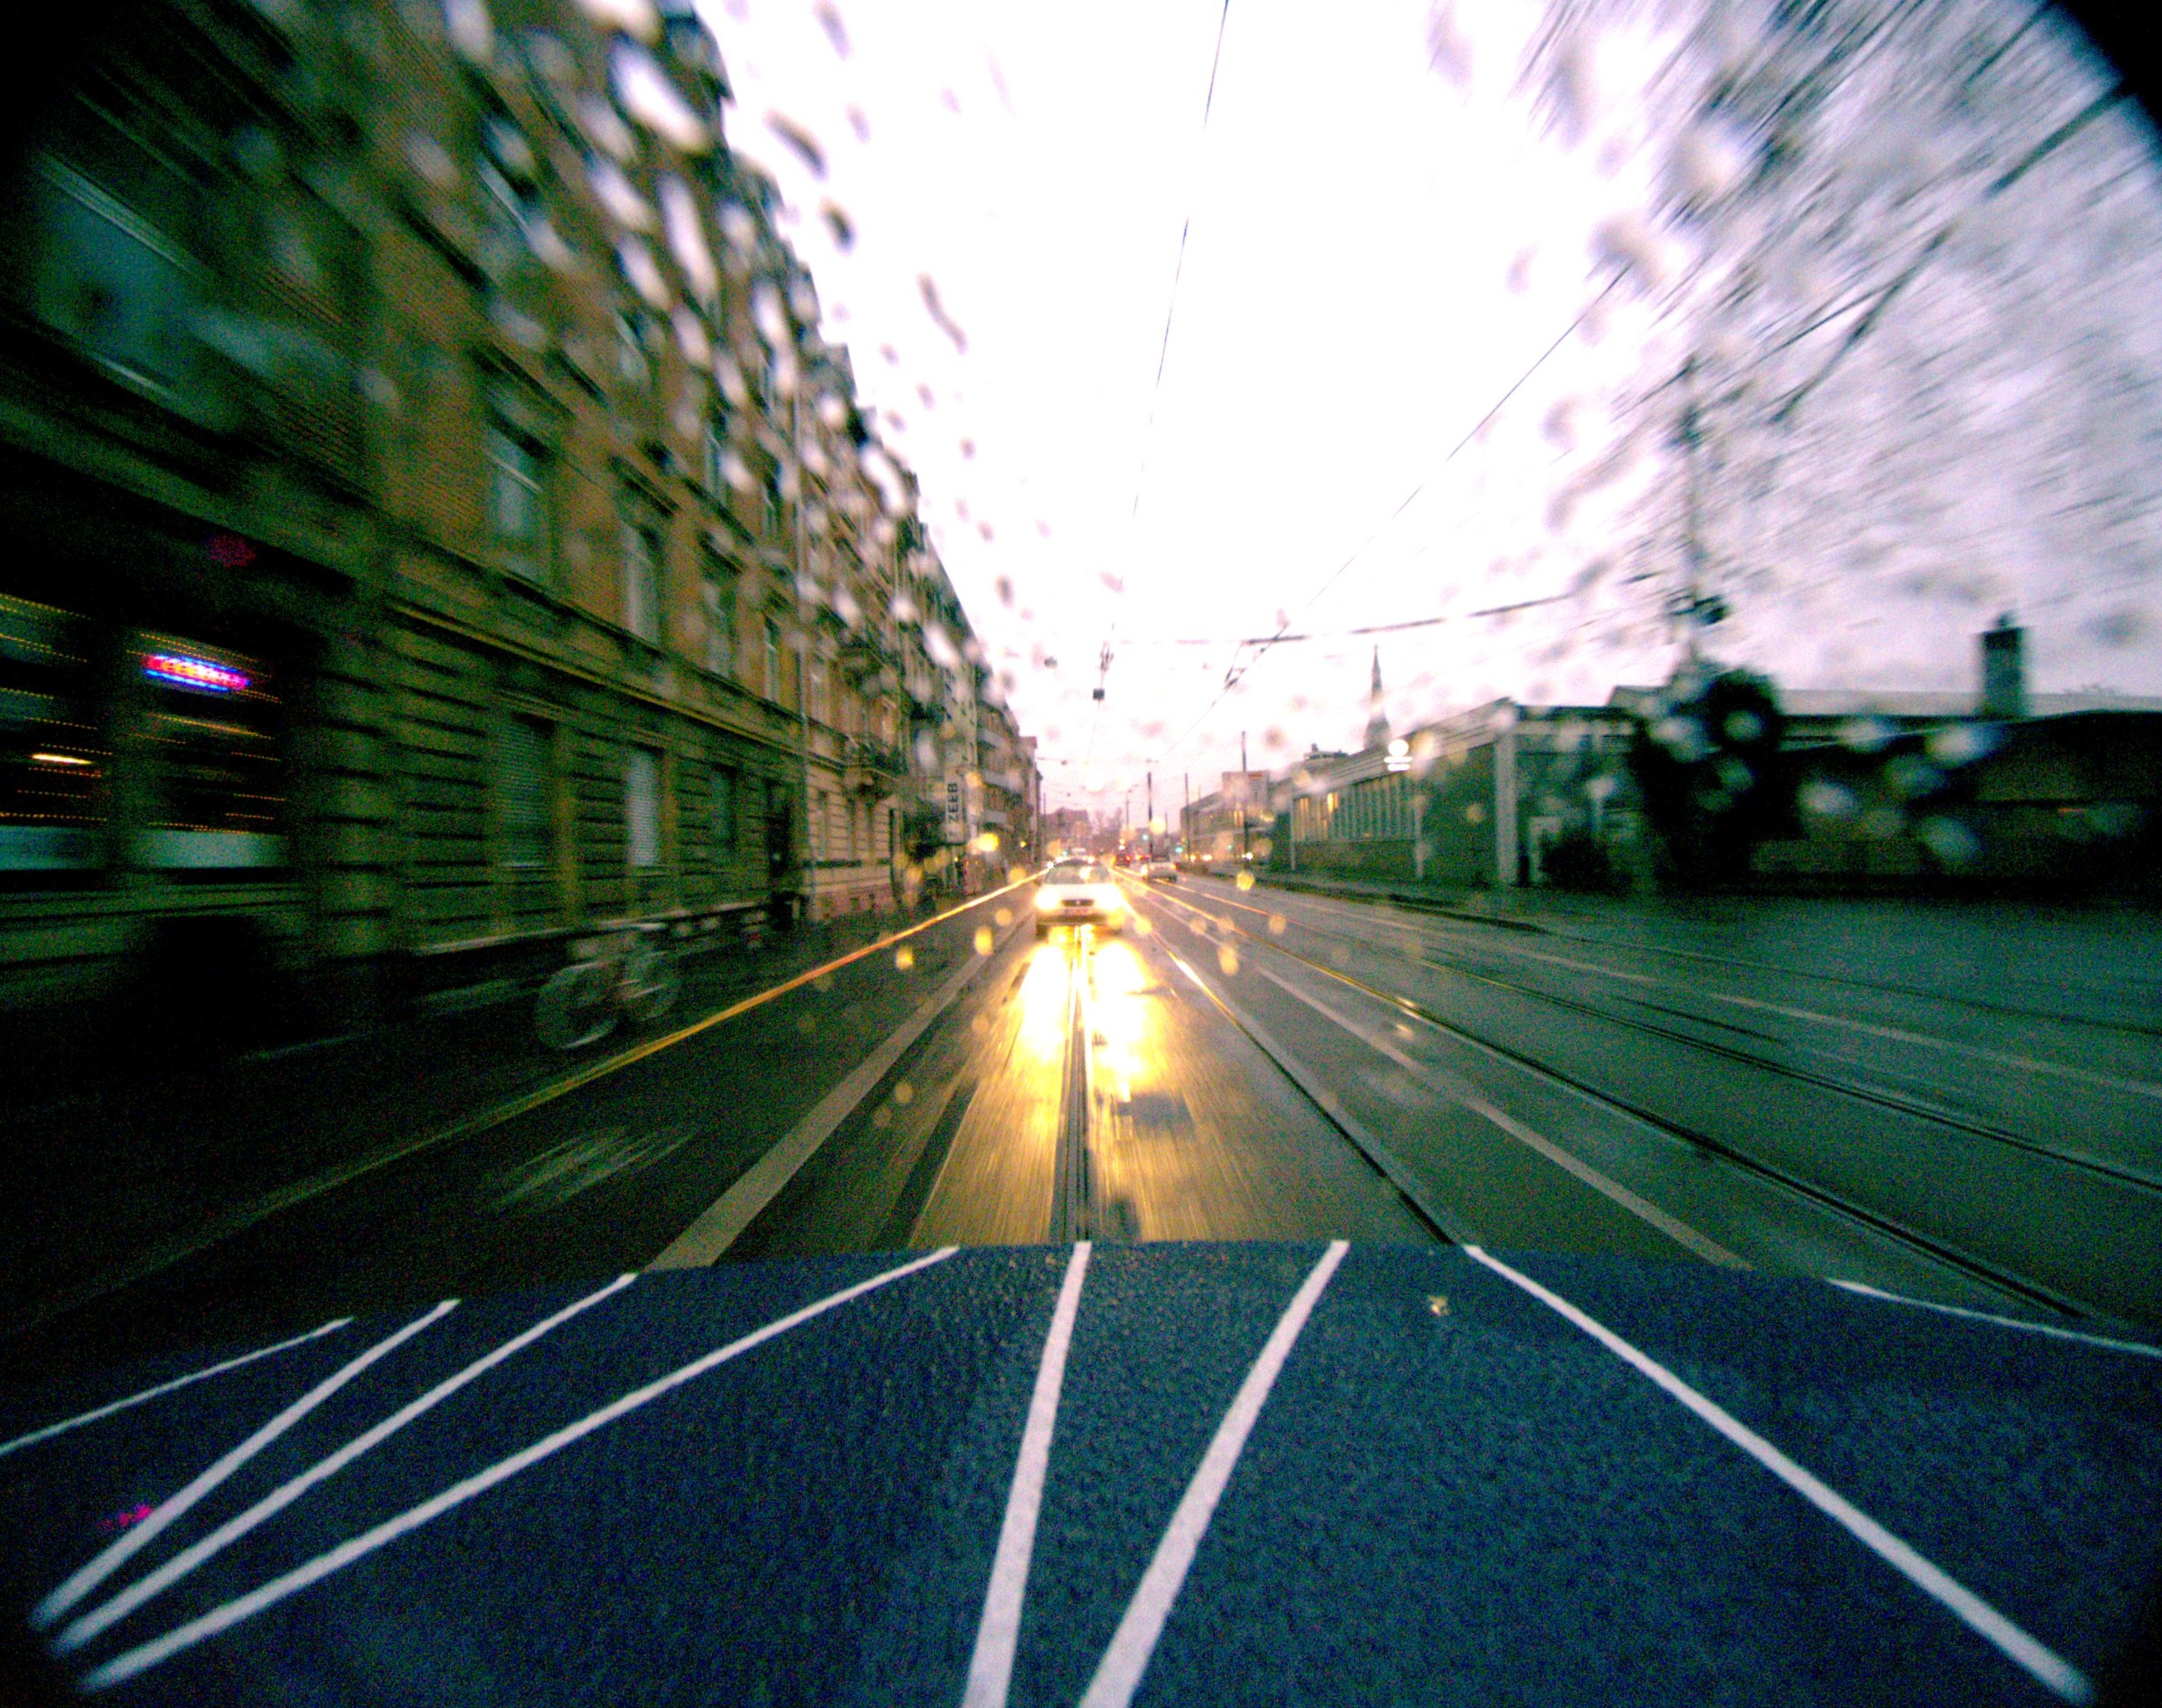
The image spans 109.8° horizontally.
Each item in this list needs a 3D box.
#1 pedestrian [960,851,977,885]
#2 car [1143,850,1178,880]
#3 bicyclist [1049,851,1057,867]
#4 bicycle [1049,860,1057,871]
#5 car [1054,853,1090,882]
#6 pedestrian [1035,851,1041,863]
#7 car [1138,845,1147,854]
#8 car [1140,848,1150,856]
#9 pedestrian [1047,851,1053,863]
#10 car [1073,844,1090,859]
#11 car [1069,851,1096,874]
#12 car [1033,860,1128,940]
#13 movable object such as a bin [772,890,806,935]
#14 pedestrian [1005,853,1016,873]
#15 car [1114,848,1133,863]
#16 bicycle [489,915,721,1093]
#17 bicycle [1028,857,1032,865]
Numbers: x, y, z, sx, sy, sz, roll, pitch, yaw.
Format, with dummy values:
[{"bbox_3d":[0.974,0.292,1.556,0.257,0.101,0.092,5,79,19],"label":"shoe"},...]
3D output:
[{"bbox_3d":[-5.978,0.739,40.411,0.601,1.808,0.774,-3,2,-27],"label":"pedestrian"},{"bbox_3d":[4.345,0.574,41.731,1.534,1.473,3.561,-2,0,0],"label":"car"},{"bbox_3d":[-2.778,0.465,75.766,0.727,1.525,0.785,-2,1,0],"label":"bicyclist"},{"bbox_3d":[-2.759,1.139,75.694,0.725,0.985,2.212,-2,1,0],"label":"bicycle"},{"bbox_3d":[-0.451,0.701,42.178,1.797,1.415,4.000,-2,1,2],"label":"car"},{"bbox_3d":[-6.337,0.440,111.878,0.777,1.734,0.673,-1,1,1],"label":"pedestrian"},{"bbox_3d":[14.396,-1.011,178.796,1.998,2.002,4.685,-3,1,3],"label":"car"},{"bbox_3d":[13.262,-0.475,158.450,1.845,1.569,4.442,-2,1,2],"label":"car"},{"bbox_3d":[-4.627,0.409,113.377,0.777,1.734,0.673,-1,1,1],"label":"pedestrian"},{"bbox_3d":[0.119,-0.360,95.550,2.018,1.809,3.688,-3,1,0],"label":"car"},{"bbox_3d":[0.149,0.588,55.531,1.824,1.565,4.000,-2,1,1],"label":"car"},{"bbox_3d":[0.054,0.903,16.712,1.797,1.415,4.000,-2,1,2],"label":"car"},{"bbox_3d":[-6.382,1.280,16.617,0.508,0.926,0.507,-2,1,-1],"label":"movable object such as a bin"},{"bbox_3d":[-5.711,0.760,61.735,0.788,1.588,0.741,-2,1,-2],"label":"pedestrian"},{"bbox_3d":[4.822,0.159,86.912,1.880,1.700,4.759,-1,0,-1],"label":"car"},{"bbox_3d":[-4.235,1.261,7.027,0.685,1.149,2.188,-3,1,0],"label":"bicycle"},{"bbox_3d":[-6.261,0.817,93.315,0.398,0.906,1.866,-2,1,0],"label":"bicycle"}]
